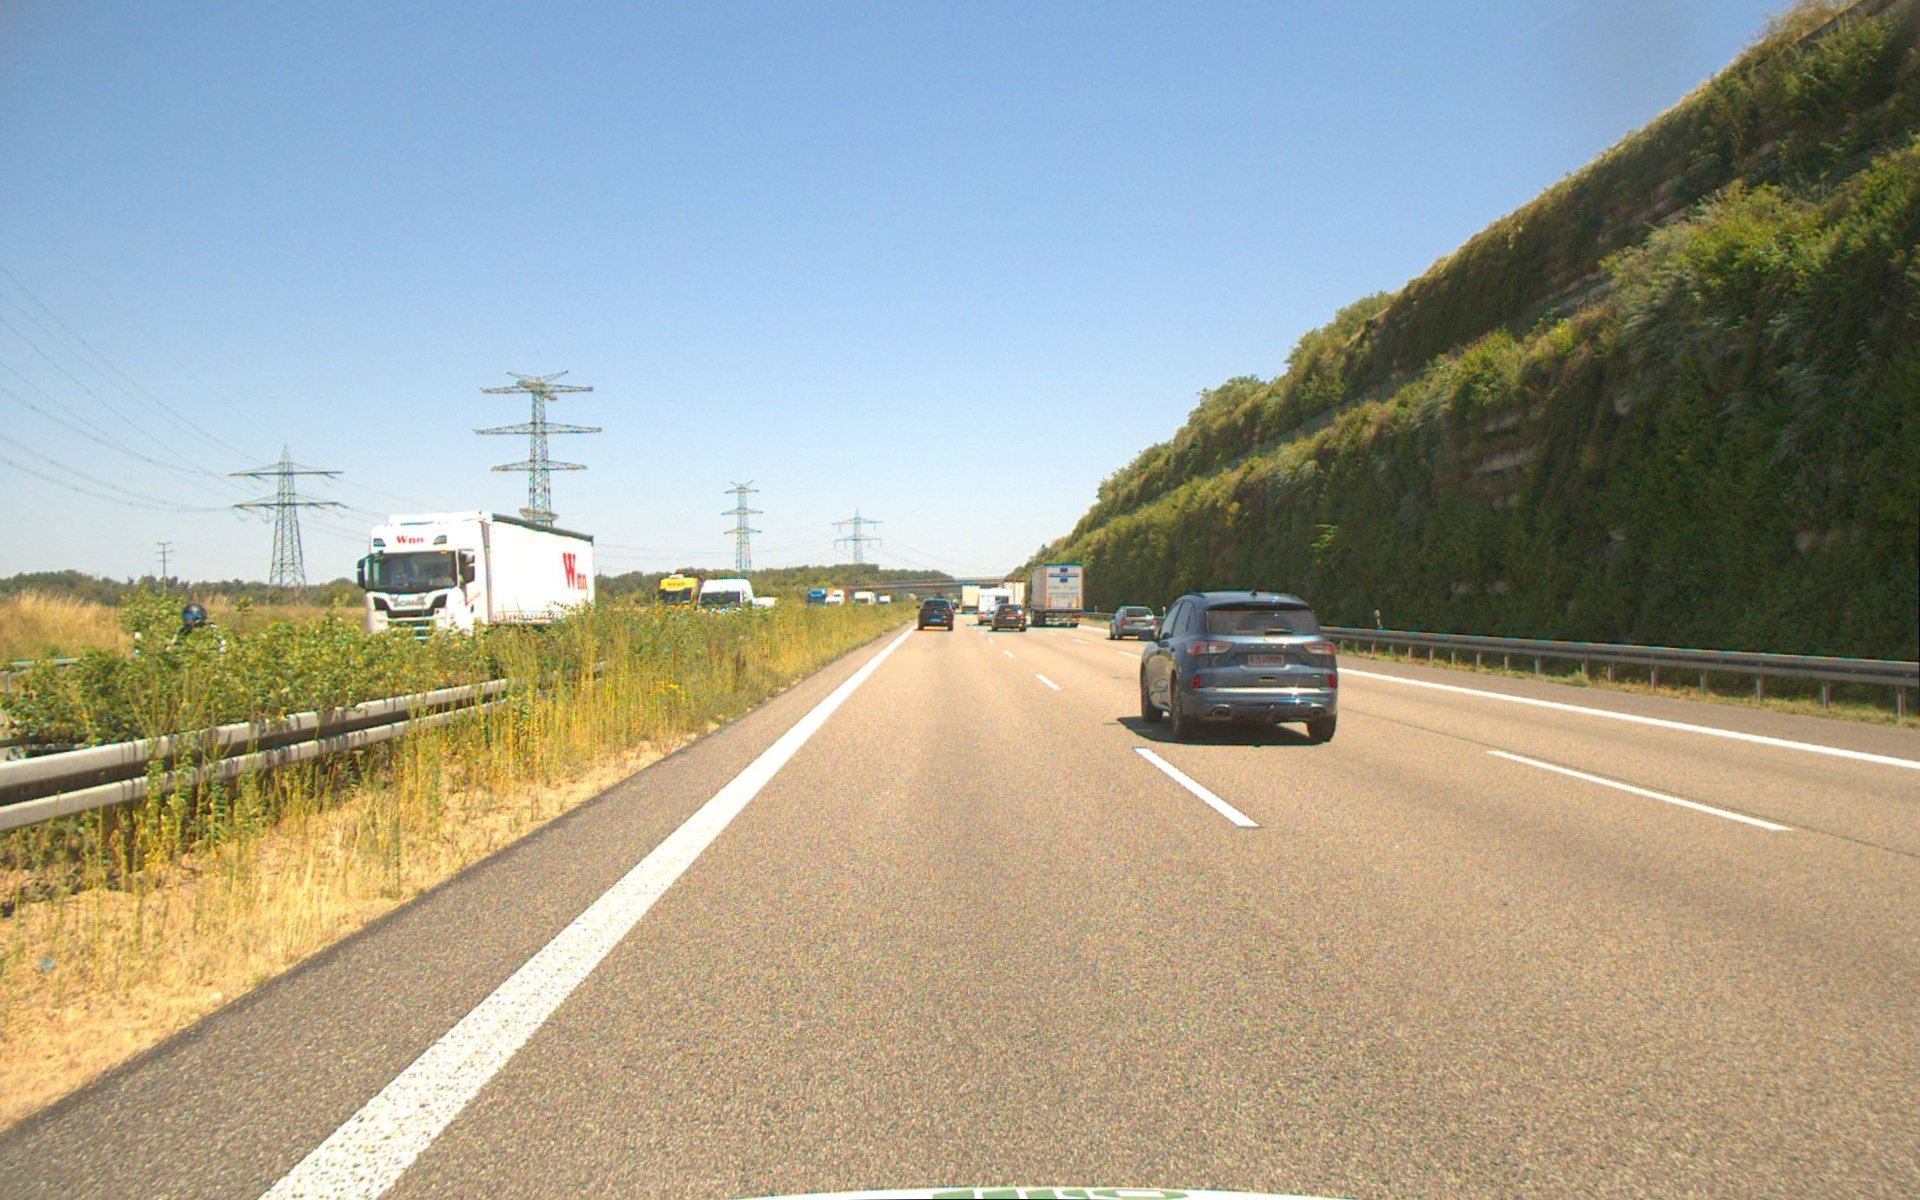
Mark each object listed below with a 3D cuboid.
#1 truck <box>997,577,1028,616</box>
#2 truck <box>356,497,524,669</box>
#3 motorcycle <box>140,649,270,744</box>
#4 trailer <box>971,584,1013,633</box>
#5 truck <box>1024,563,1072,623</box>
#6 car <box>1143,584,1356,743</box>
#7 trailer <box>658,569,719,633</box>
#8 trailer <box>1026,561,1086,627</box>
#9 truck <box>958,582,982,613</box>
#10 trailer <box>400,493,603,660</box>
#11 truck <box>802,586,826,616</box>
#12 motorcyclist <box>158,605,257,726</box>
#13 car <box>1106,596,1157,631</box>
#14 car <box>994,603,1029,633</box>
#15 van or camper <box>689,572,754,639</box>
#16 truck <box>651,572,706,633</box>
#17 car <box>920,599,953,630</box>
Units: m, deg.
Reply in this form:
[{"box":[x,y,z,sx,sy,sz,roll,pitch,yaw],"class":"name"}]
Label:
[{"box":[6.038,-0.416,192.292,3.055,4.355,11.931,-1,0,-1],"class":"truck"},{"box":[-13.589,-0.413,43.685,2.748,4.231,5.568,0,0,-1],"class":"truck"},{"box":[-8.836,1.106,19.429,0.685,0.988,1.845,-1,0,-1],"class":"motorcycle"},{"box":[2.233,0.597,118.015,2.558,3.269,9.950,-1,0,-1],"class":"trailer"},{"box":[6.413,-0.490,120.875,3.072,4.214,5.503,-1,0,-1],"class":"truck"},{"box":[3.307,0.678,19.641,1.757,1.682,4.137,0,0,-1],"class":"car"},{"box":[-18.554,0.073,113.590,2.681,4.116,9.422,-1,0,-1],"class":"trailer"},{"box":[6.497,-0.395,113.832,3.118,4.193,13.429,-1,0,-1],"class":"trailer"},{"box":[1.460,-0.343,242.839,3.340,4.355,10.605,-1,0,-1],"class":"truck"},{"box":[-13.720,-0.607,51.089,2.713,4.426,14.234,0,0,-2],"class":"trailer"},{"box":[-19.770,0.192,224.522,2.805,3.976,5.620,-1,0,-1],"class":"truck"},{"box":[-8.842,0.751,19.464,0.693,1.370,1.013,-1,0,-2],"class":"motorcyclist"},{"box":[7.362,0.553,71.388,1.650,1.453,4.452,0,0,-1],"class":"car"},{"box":[2.799,0.956,90.772,1.792,1.552,4.000,-1,0,0],"class":"car"},{"box":[-9.822,0.228,68.624,1.953,2.627,6.283,0,0,-2],"class":"van or camper"},{"box":[-18.507,0.162,108.921,2.669,3.793,5.644,-1,0,-1],"class":"truck"},{"box":[-1.319,0.796,92.011,1.793,1.700,3.999,-1,0,-1],"class":"car"}]
